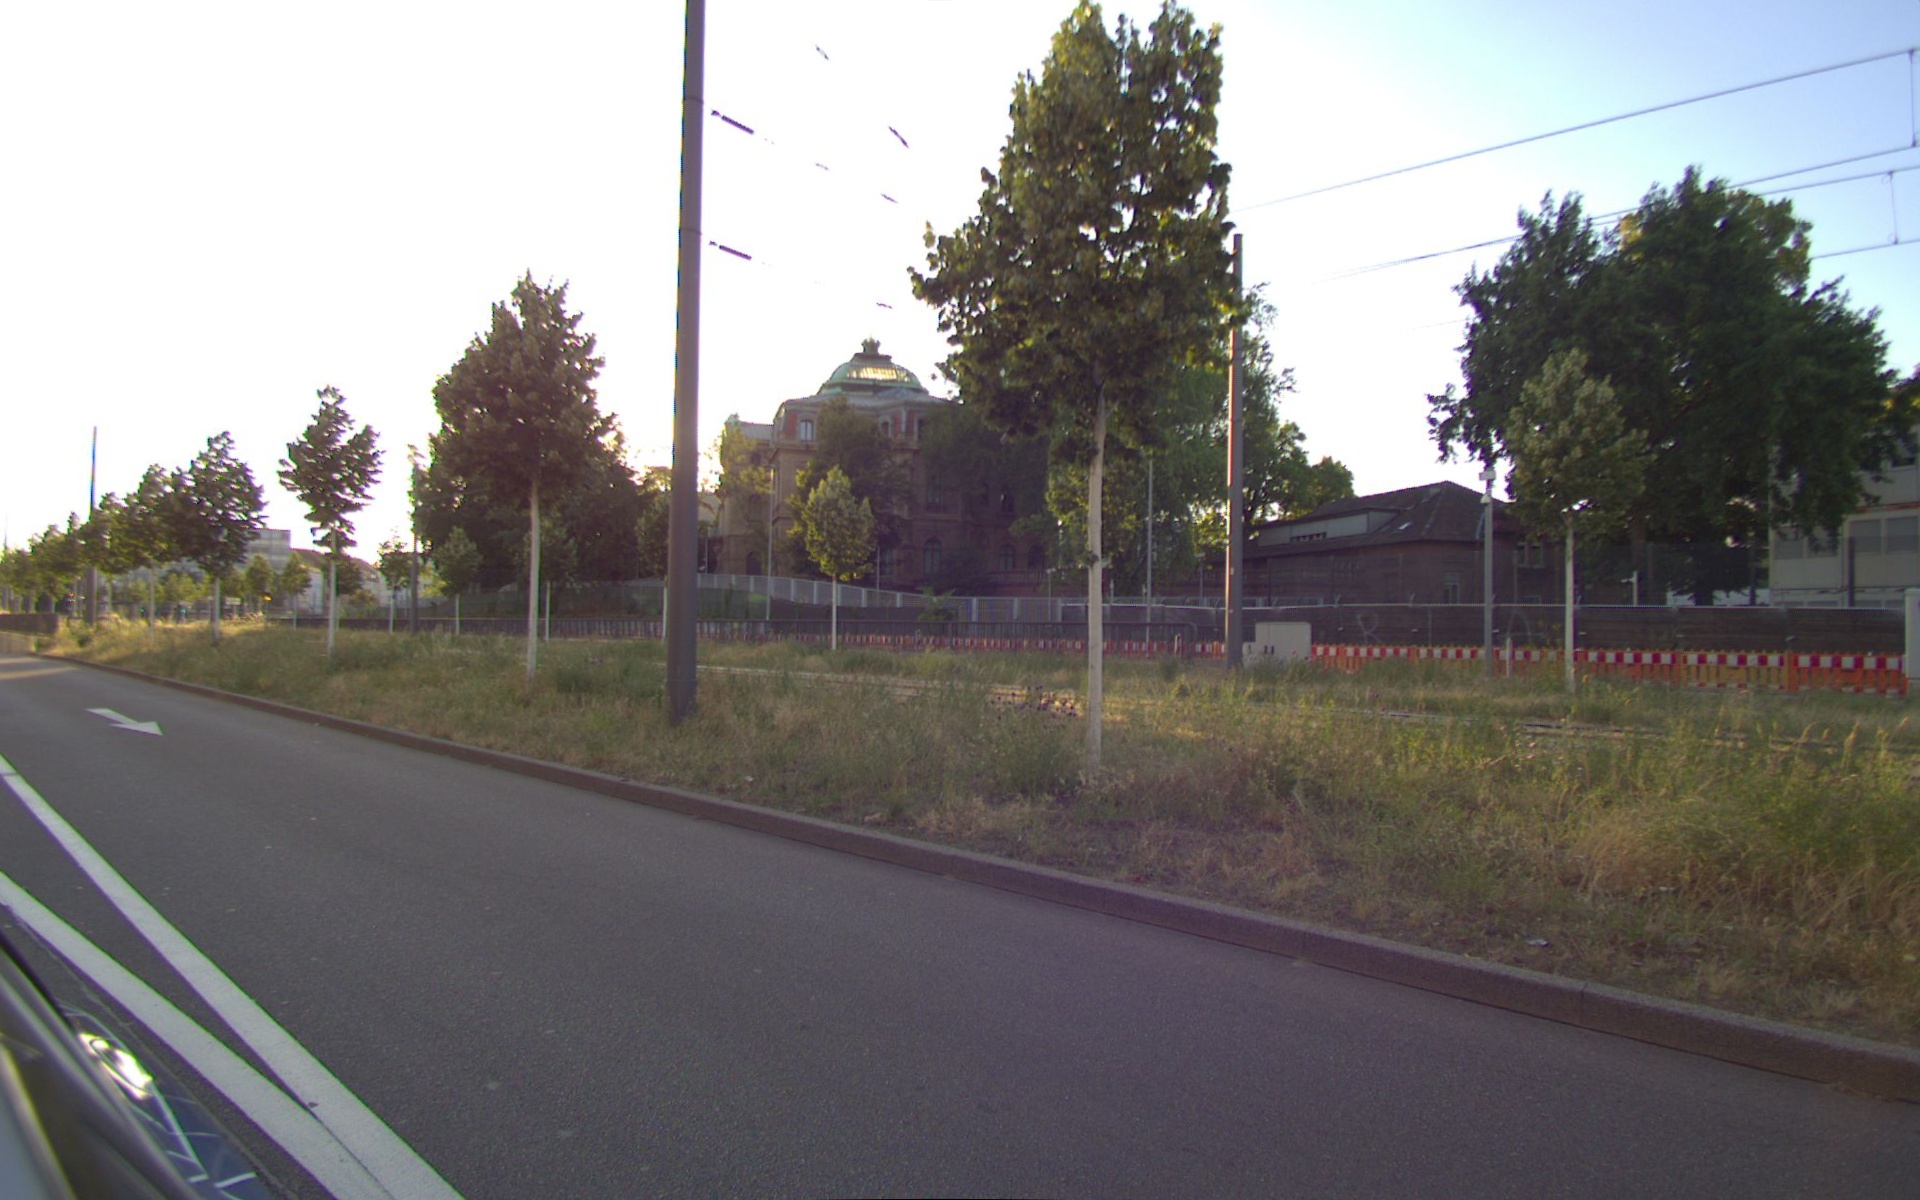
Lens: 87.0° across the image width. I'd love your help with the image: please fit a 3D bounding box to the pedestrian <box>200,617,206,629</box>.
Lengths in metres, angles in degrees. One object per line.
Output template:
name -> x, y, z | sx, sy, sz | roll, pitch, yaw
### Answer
pedestrian -> -107.278, 3.261, 143.449 | 0.637, 1.725, 0.839 | 2, -2, -40
